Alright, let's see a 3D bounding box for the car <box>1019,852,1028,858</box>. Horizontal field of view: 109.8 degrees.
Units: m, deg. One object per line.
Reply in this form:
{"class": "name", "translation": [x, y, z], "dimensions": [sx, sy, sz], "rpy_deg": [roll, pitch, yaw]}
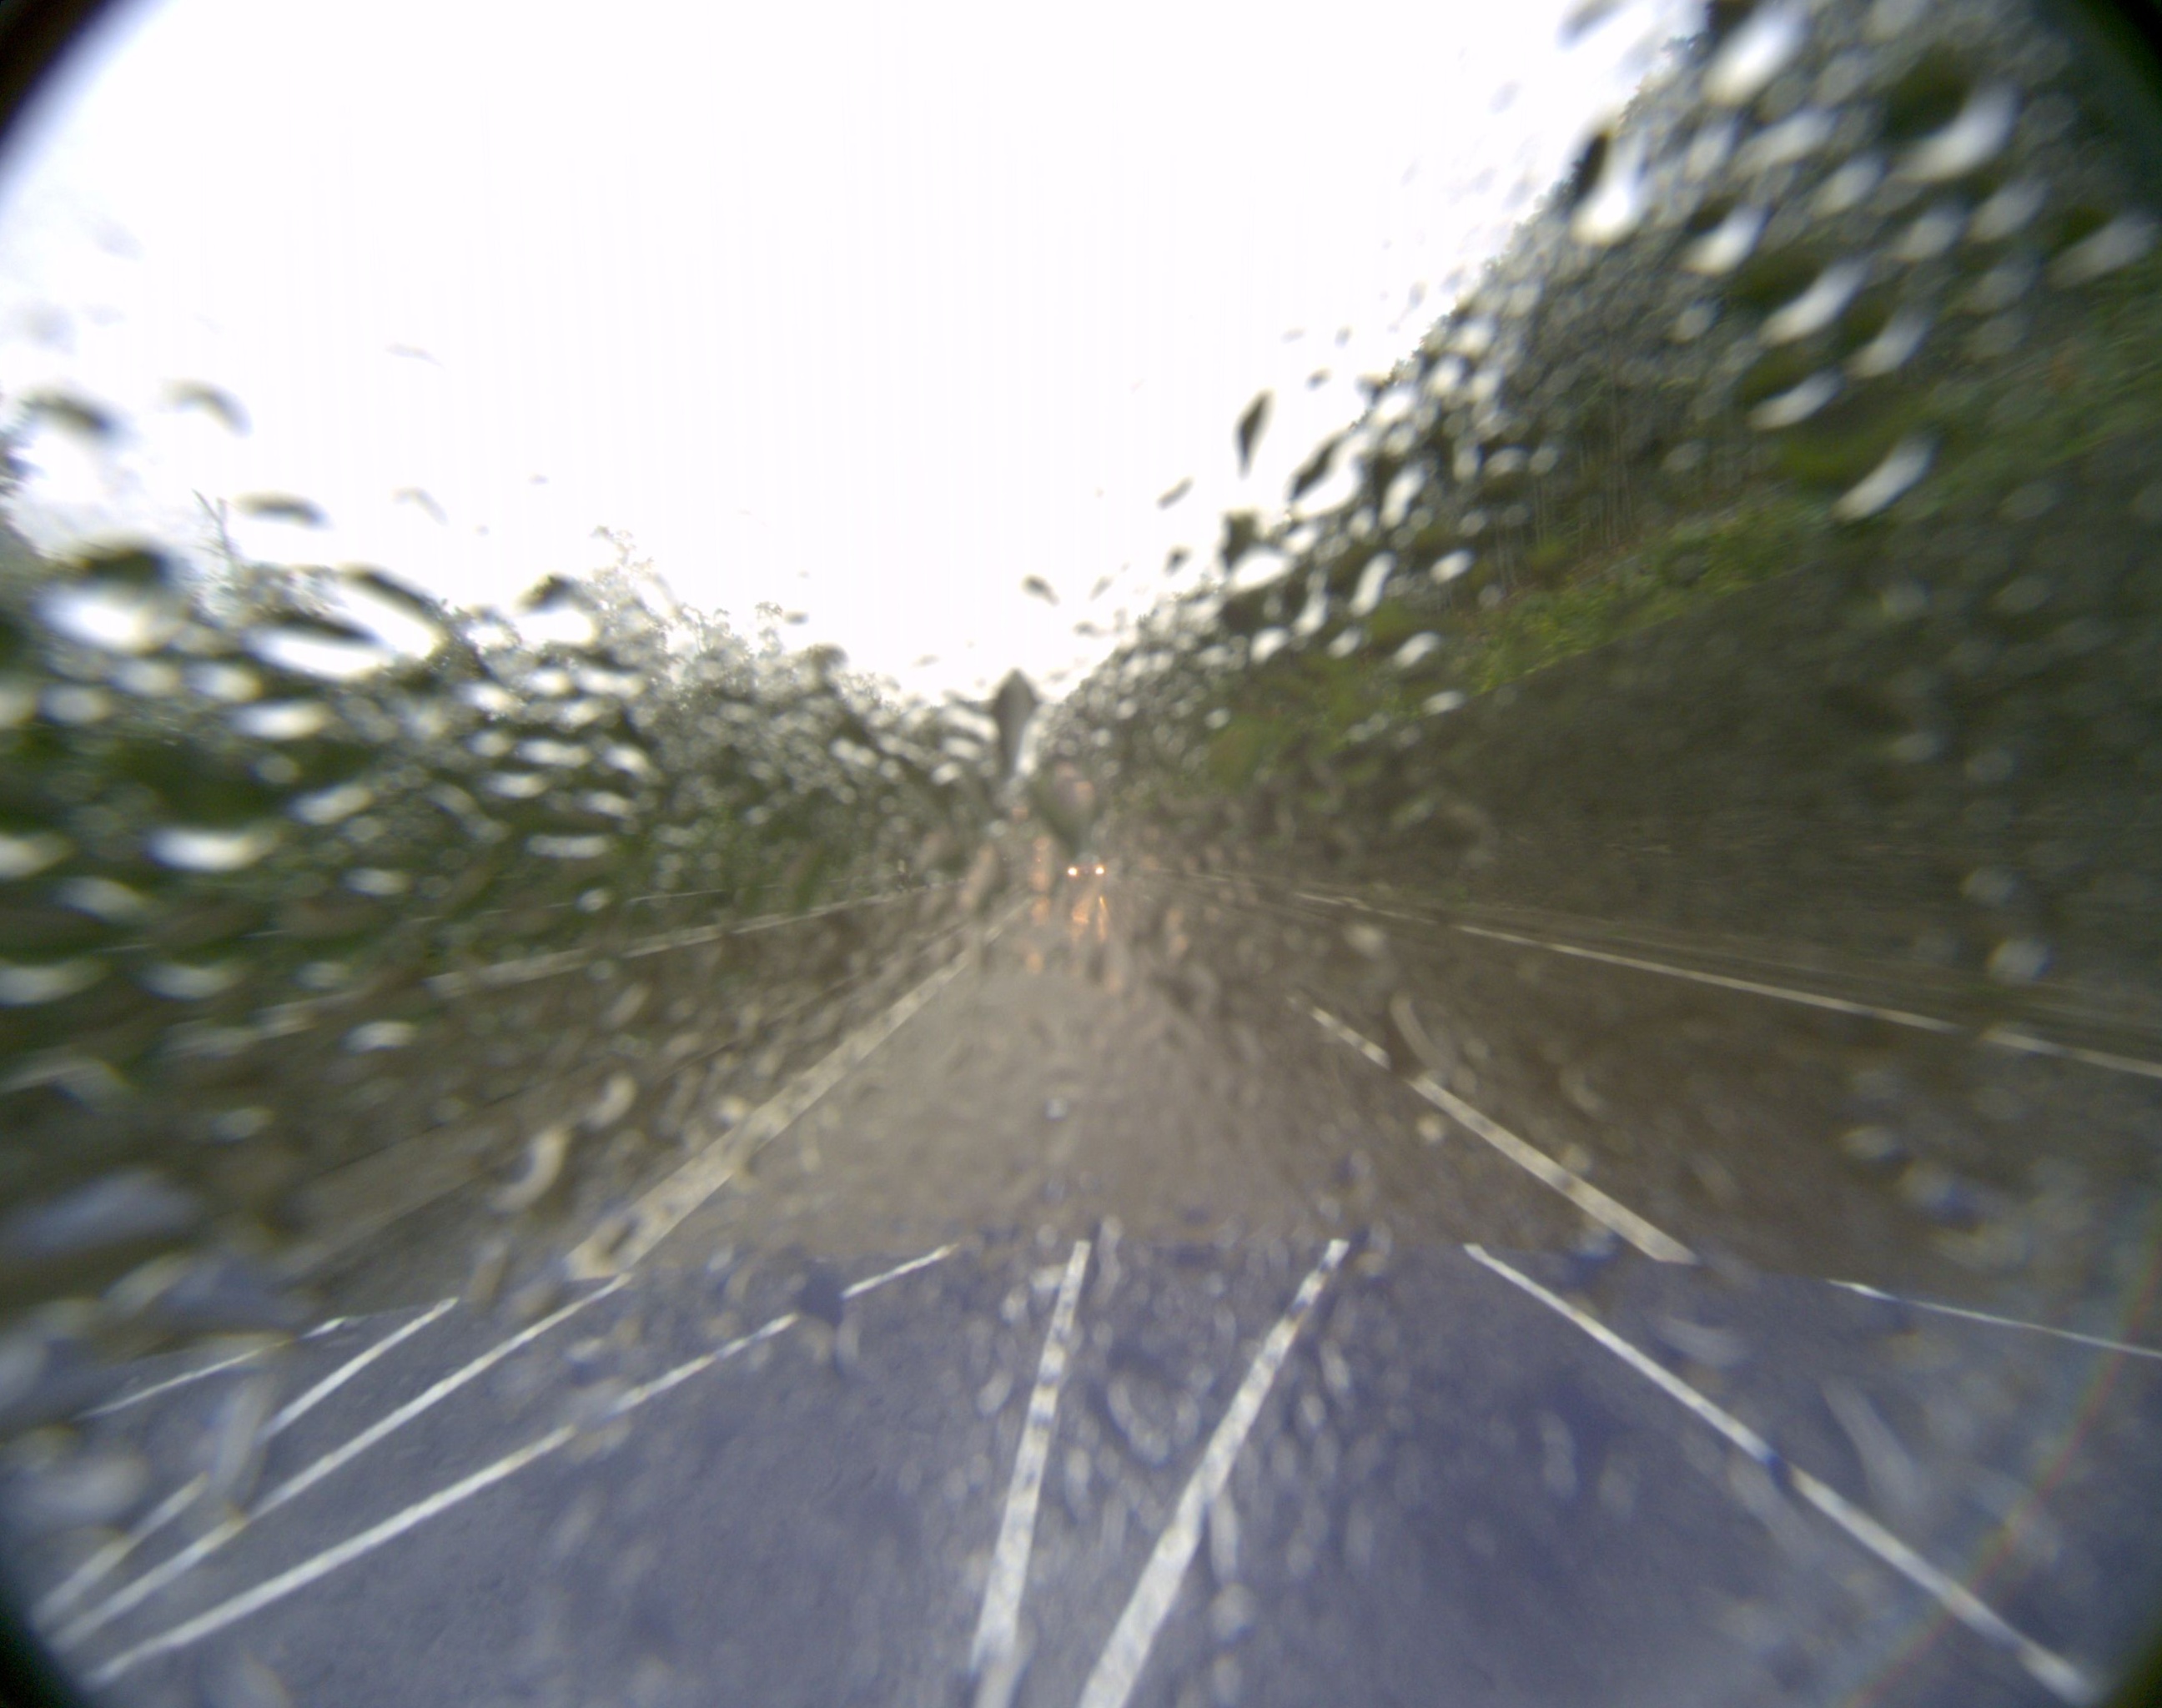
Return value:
{"class": "car", "translation": [-12.635, 0.229, 166.725], "dimensions": [1.743, 1.393, 3.996], "rpy_deg": [-2, 1, -10]}

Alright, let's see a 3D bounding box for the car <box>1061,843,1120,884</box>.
{"class": "car", "translation": [0.314, 0.344, 34.572], "dimensions": [2.360, 1.549, 5.497], "rpy_deg": [-4, 1, -1]}

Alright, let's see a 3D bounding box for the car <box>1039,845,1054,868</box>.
{"class": "car", "translation": [-4.620, 0.274, 101.491], "dimensions": [1.742, 3.008, 3.998], "rpy_deg": [-2, 1, -4]}
